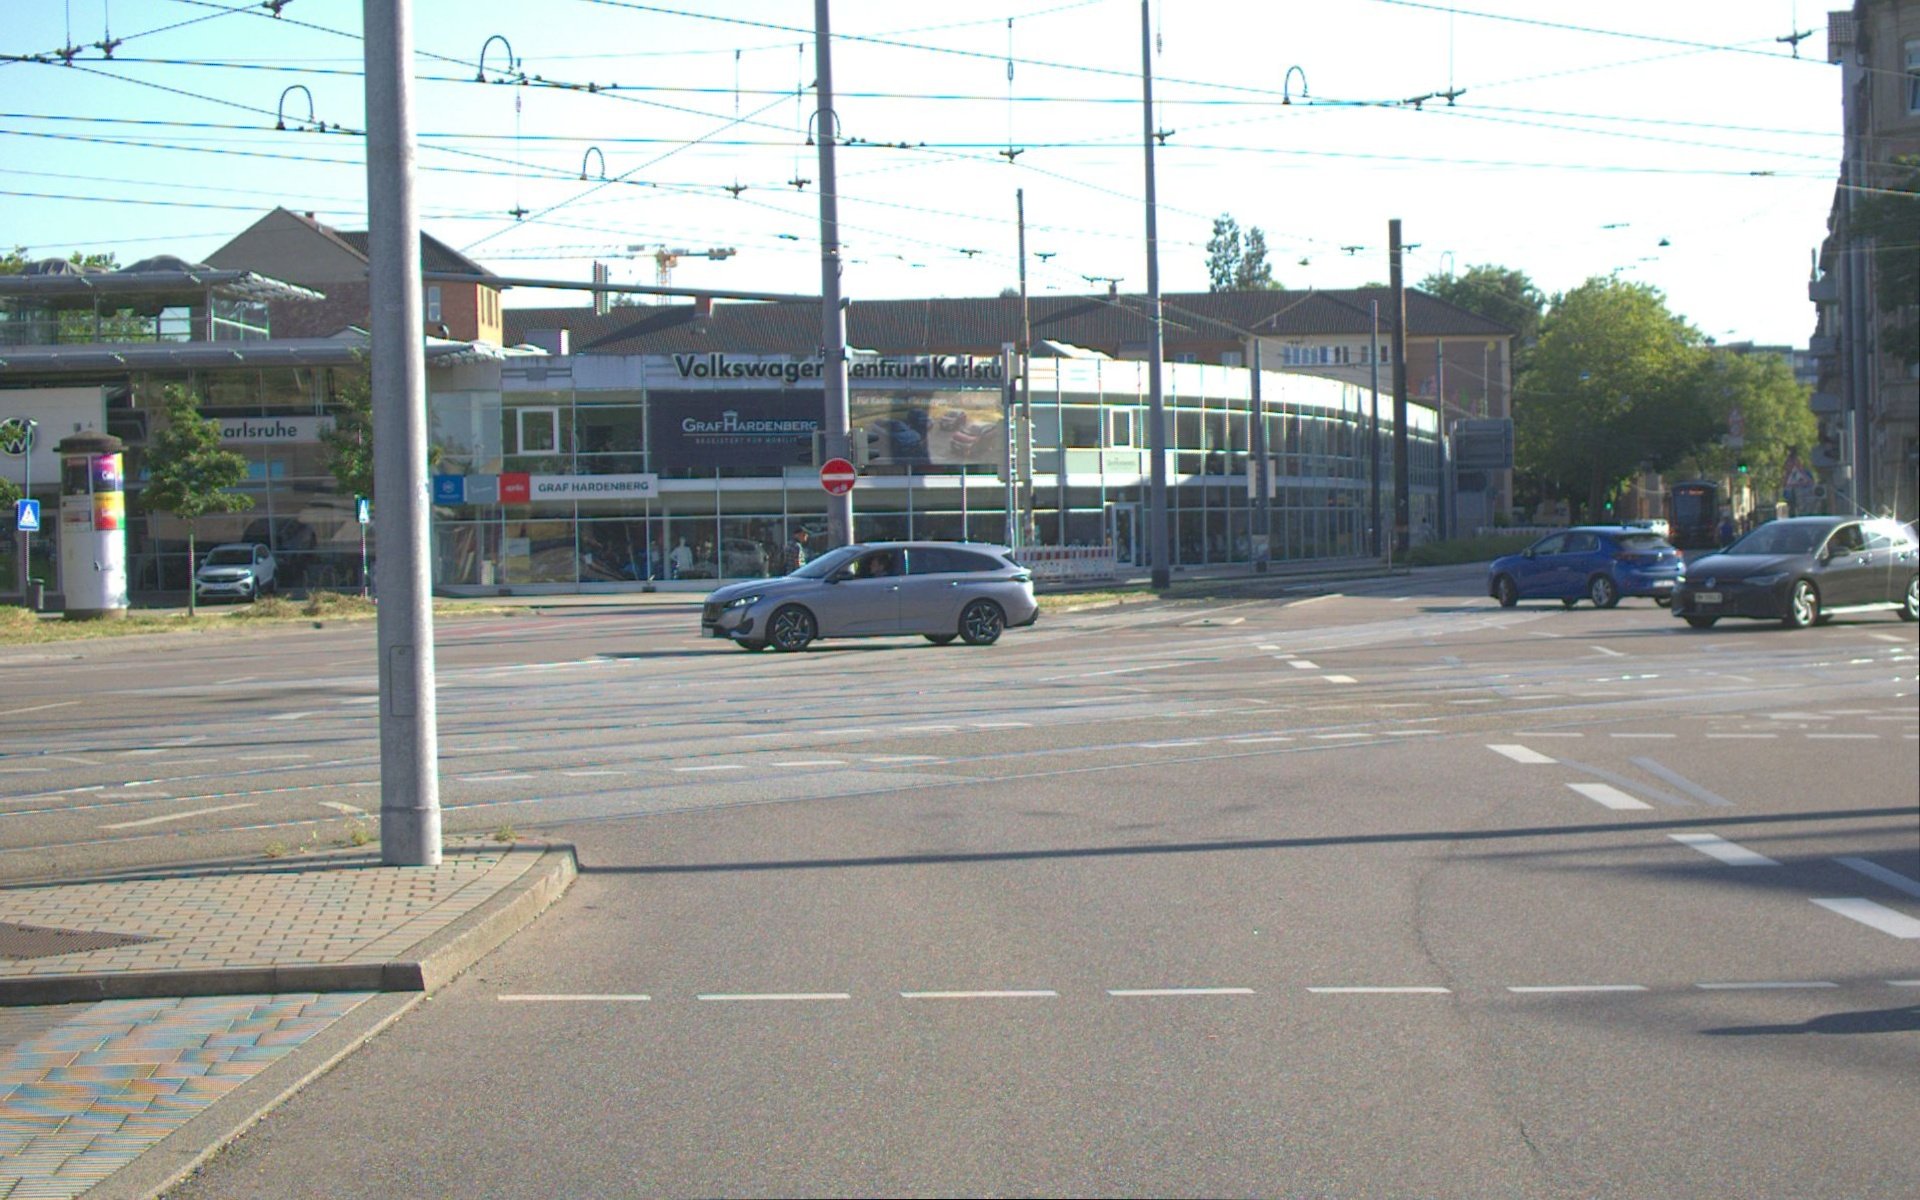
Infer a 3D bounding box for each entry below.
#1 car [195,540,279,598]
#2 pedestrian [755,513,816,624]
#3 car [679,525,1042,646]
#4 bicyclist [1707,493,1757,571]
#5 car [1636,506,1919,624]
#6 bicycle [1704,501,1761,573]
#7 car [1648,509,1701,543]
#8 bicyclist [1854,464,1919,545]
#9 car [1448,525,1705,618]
[{"bbox_3d":[-21.179,-0.937,100.833,1.993,1.529,4.001,0,3,-6],"label":"car"},{"bbox_3d":[-2.884,-0.526,56.859,0.989,1.810,0.920,0,3,-2],"label":"pedestrian"},{"bbox_3d":[-1.367,-0.218,47.067,4.543,1.512,1.954,-1,1,-22],"label":"car"},{"bbox_3d":[19.321,-1.706,86.013,1.120,1.894,1.073,1,3,18],"label":"bicyclist"},{"bbox_3d":[11.096,-0.487,45.821,4.091,1.481,1.953,-2,1,-40],"label":"car"},{"bbox_3d":[19.334,-1.592,85.992,1.136,1.684,3.997,1,3,16],"label":"bicycle"},{"bbox_3d":[36.920,-3.839,177.663,1.801,1.650,3.918,0,3,-1],"label":"car"},{"bbox_3d":[17.946,-1.852,66.505,0.923,1.554,0.860,-1,3,-23],"label":"bicyclist"},{"bbox_3d":[11.037,-0.520,61.848,1.947,1.588,4.617,-2,1,-32],"label":"car"}]
